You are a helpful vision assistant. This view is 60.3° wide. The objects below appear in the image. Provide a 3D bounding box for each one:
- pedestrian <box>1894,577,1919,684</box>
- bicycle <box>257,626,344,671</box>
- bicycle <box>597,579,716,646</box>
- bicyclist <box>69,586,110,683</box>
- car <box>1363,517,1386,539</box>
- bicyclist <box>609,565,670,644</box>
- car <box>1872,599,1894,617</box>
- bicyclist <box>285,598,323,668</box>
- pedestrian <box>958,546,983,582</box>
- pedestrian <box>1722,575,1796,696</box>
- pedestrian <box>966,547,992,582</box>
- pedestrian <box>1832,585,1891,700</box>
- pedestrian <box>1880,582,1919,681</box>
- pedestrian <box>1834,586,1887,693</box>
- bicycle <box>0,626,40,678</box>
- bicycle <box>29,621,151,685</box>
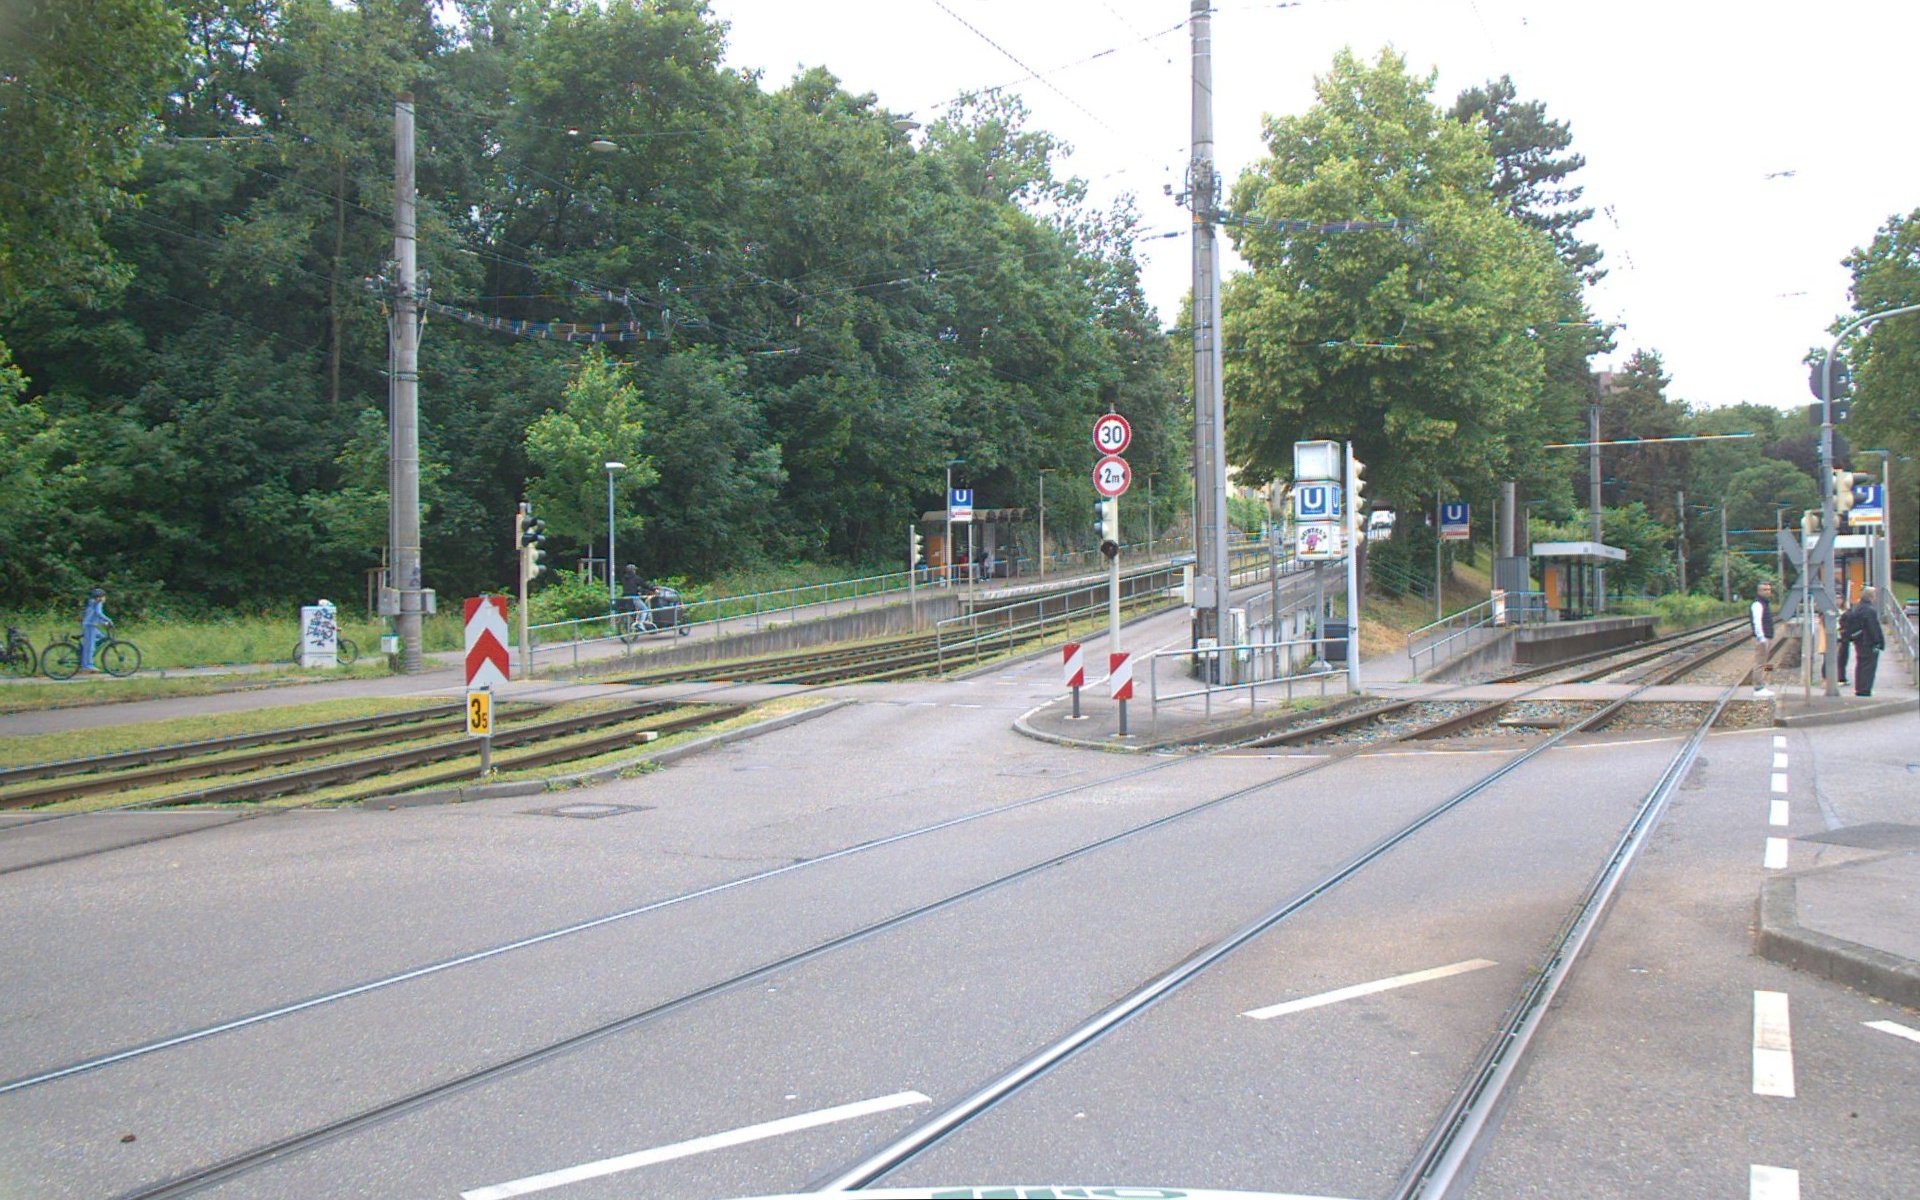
[{"bbox_3d":[16.204,0.509,28.063,0.540,1.789,0.736,2,1,32],"label":"pedestrian"},{"bbox_3d":[-13.087,0.950,32.835,1.541,0.751,0.449,-4,6,-35],"label":"bicycle"},{"bbox_3d":[-7.134,0.271,39.149,0.720,1.311,3.339,3,5,32],"label":"bicycle"},{"bbox_3d":[-15.868,0.619,30.146,0.616,1.703,0.470,-1,3,-35],"label":"bicyclist"},{"bbox_3d":[44.559,-7.725,177.657,1.952,2.183,4.001,2,1,19],"label":"car"},{"bbox_3d":[-7.465,0.093,38.558,0.720,1.740,1.290,3,5,32],"label":"bicyclist"},{"bbox_3d":[90.470,0.779,162.162,1.710,1.626,3.995,2,1,27],"label":"car"},{"bbox_3d":[-13.033,0.656,32.850,0.574,1.323,0.450,-3,6,-34],"label":"bicyclist"},{"bbox_3d":[0.401,-1.378,63.872,0.756,1.349,0.787,2,3,20],"label":"pedestrian"},{"bbox_3d":[12.596,0.547,26.083,0.786,1.853,0.670,2,0,0],"label":"pedestrian"},{"bbox_3d":[0.738,-1.394,64.889,0.756,1.349,0.787,2,1,20],"label":"pedestrian"},{"bbox_3d":[13.668,0.637,25.082,0.721,1.694,0.680,2,1,29],"label":"pedestrian"},{"bbox_3d":[16.459,0.539,28.846,0.667,1.694,0.736,2,1,30],"label":"pedestrian"},{"bbox_3d":[14.763,0.632,27.116,0.666,1.694,0.737,2,1,25],"label":"pedestrian"},{"bbox_3d":[-18.026,0.974,31.368,0.617,0.901,1.719,1,1,-42],"label":"bicycle"},{"bbox_3d":[-15.860,0.948,30.175,1.922,1.059,0.470,-1,3,-35],"label":"bicycle"}]
